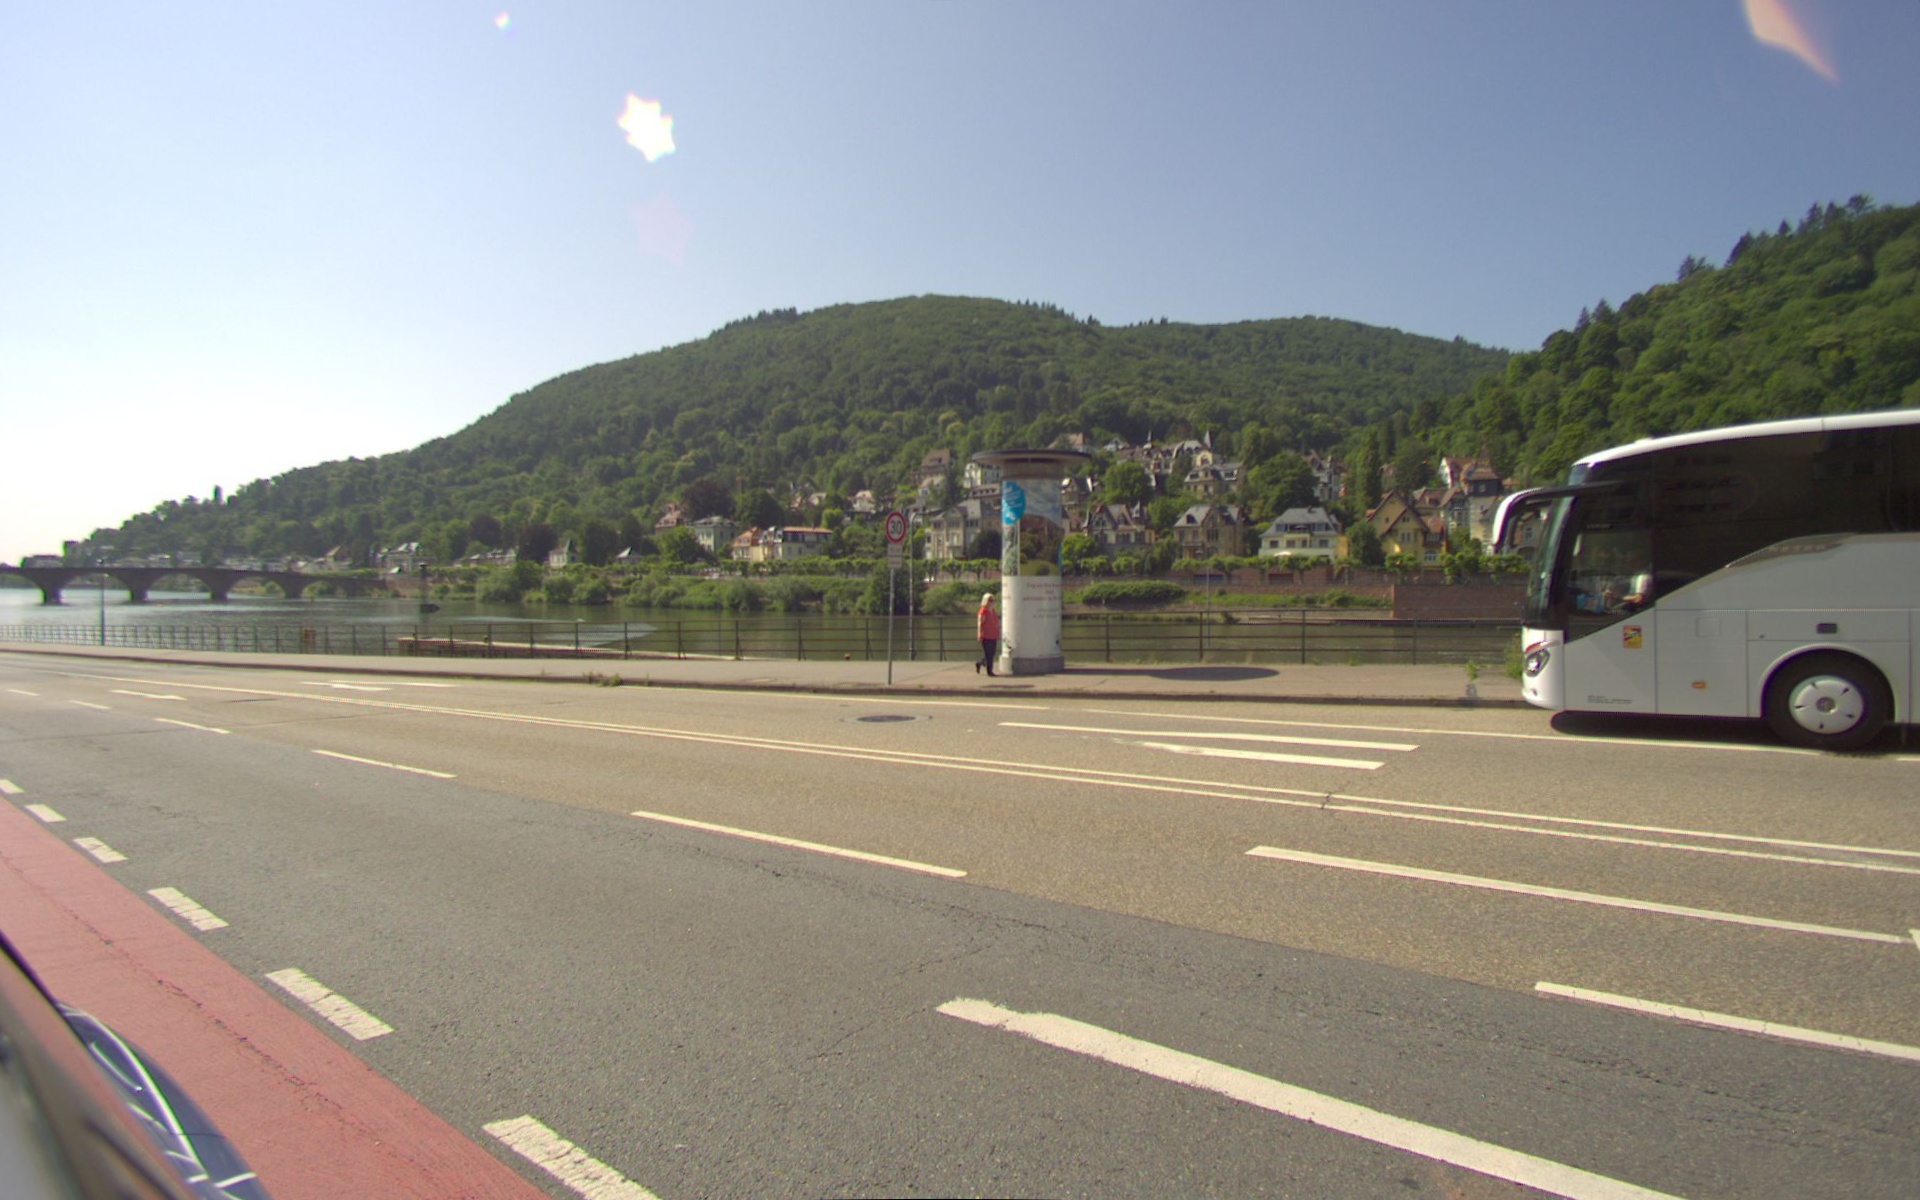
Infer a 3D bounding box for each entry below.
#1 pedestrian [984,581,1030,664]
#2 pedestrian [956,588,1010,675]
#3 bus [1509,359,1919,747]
[{"bbox_3d":[0.998,0.470,21.476,0.769,1.722,0.679,-1,0,26],"label":"pedestrian"},{"bbox_3d":[0.447,0.602,19.491,0.813,1.633,0.698,-1,0,27],"label":"pedestrian"},{"bbox_3d":[12.836,-0.602,9.582,13.202,3.828,2.934,-1,2,33],"label":"bus"}]
